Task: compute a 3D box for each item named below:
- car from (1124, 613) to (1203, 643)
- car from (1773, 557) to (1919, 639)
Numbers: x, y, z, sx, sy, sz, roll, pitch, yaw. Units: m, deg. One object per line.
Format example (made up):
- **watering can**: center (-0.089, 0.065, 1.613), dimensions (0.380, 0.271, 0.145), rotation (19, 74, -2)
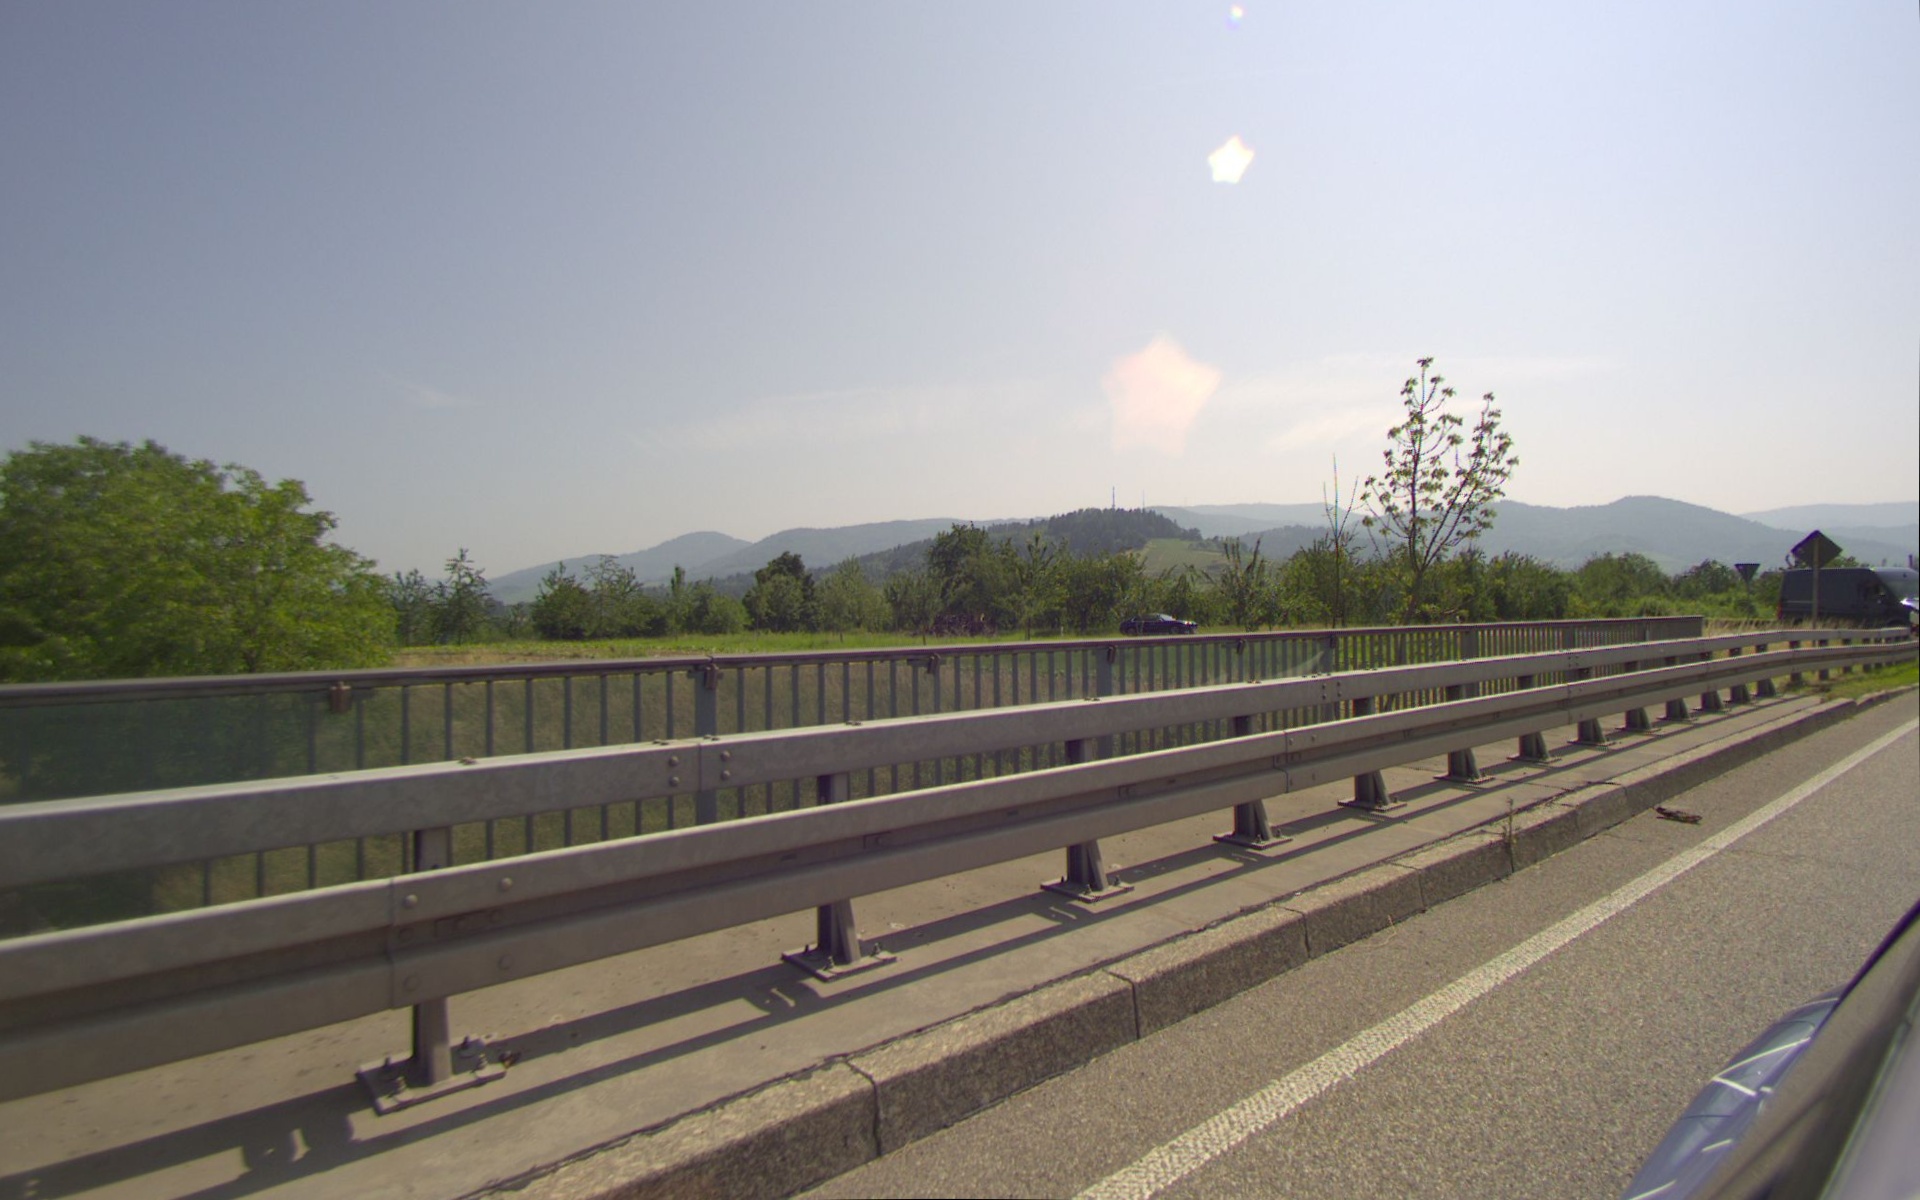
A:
- **car**: center (13.065, 1.778, 65.128), dimensions (4.654, 1.717, 1.972), rotation (-1, 2, 41)
- **car**: center (31.513, -0.048, 34.665), dimensions (2.022, 2.608, 6.313), rotation (-1, 0, -2)
